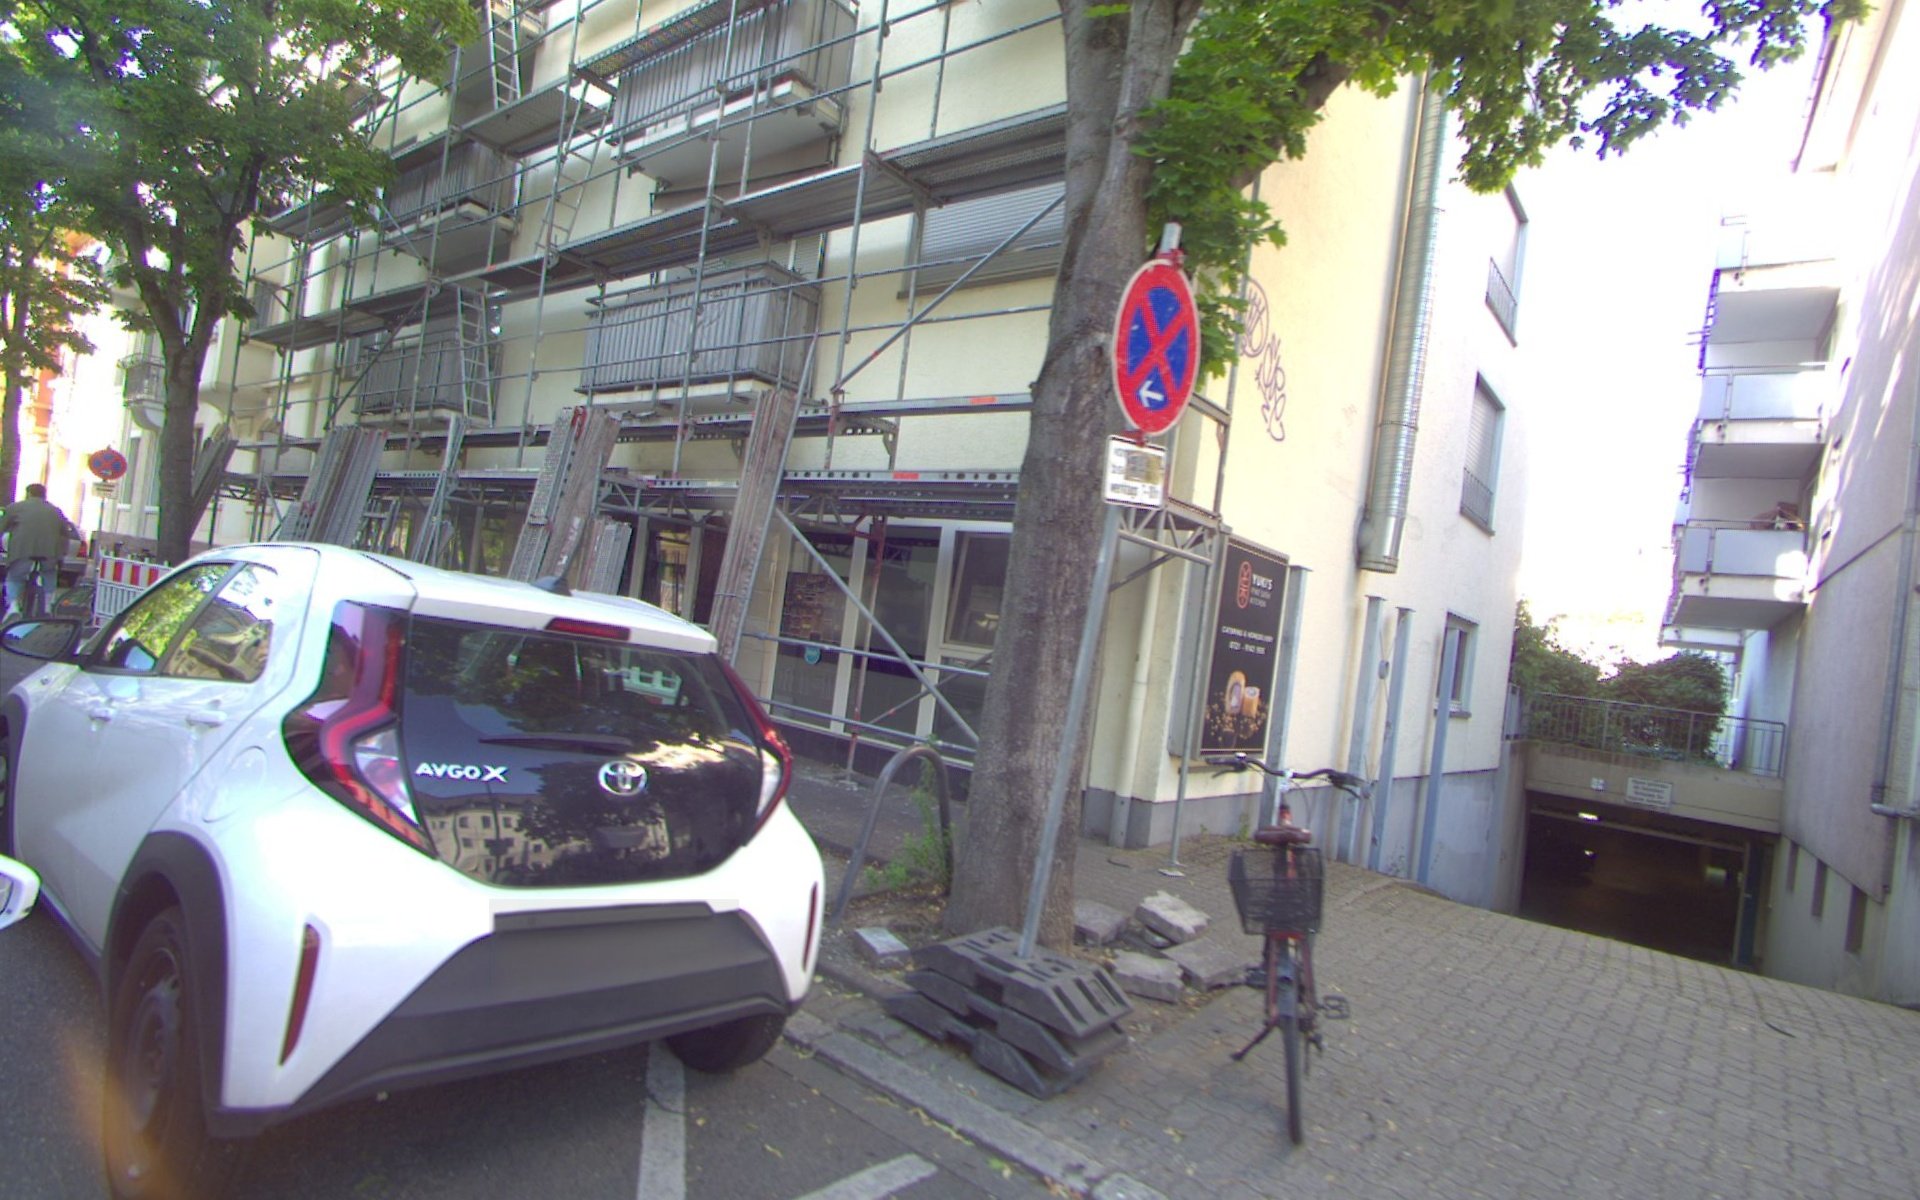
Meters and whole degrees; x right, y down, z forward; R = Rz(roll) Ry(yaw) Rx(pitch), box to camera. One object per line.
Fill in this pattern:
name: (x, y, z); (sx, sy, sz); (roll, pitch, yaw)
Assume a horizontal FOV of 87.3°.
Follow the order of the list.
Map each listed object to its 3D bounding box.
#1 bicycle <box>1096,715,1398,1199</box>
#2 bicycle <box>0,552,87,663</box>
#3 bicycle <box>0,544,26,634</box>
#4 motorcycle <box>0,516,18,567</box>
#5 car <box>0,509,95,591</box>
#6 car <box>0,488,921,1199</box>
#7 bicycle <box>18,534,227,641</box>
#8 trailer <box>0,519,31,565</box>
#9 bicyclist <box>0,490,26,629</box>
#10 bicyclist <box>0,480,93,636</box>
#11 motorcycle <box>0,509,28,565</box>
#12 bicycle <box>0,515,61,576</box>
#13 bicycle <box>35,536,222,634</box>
bicycle: (1.237, 1.158, 3.959); (0.738, 1.170, 1.969); (6, 1, 25)
bicycle: (-10.507, 0.047, 11.270); (1.832, 1.071, 0.739); (5, -3, 41)
bicycle: (-12.474, -0.232, 12.575); (1.829, 1.056, 0.707); (6, -5, 36)
motorcycle: (-24.738, -1.554, 25.068); (0.689, 1.254, 1.766); (7, -2, 1)
car: (-19.916, -1.141, 21.273); (4.366, 1.439, 1.679); (6, 0, 39)
car: (-2.256, 0.554, 3.682); (3.909, 1.553, 1.802); (6, -3, 41)
bicycle: (-11.234, -0.145, 13.581); (1.904, 1.134, 0.744); (9, -1, -21)
trailer: (-25.688, -1.649, 26.011); (1.096, 1.125, 2.087); (7, -2, 26)
bicyclist: (-12.411, -0.577, 12.561); (0.966, 1.707, 0.716); (6, -4, 37)
bicyclist: (-10.413, -0.471, 11.260); (0.967, 1.582, 0.755); (6, -2, 41)
motorcycle: (-26.648, -1.811, 27.852); (2.202, 1.432, 0.861); (6, -2, 41)
bicycle: (-22.712, -1.347, 23.967); (0.577, 1.320, 1.759); (7, -2, 38)
bicycle: (-12.127, -0.199, 14.749); (1.970, 1.134, 0.739); (9, -2, -40)
